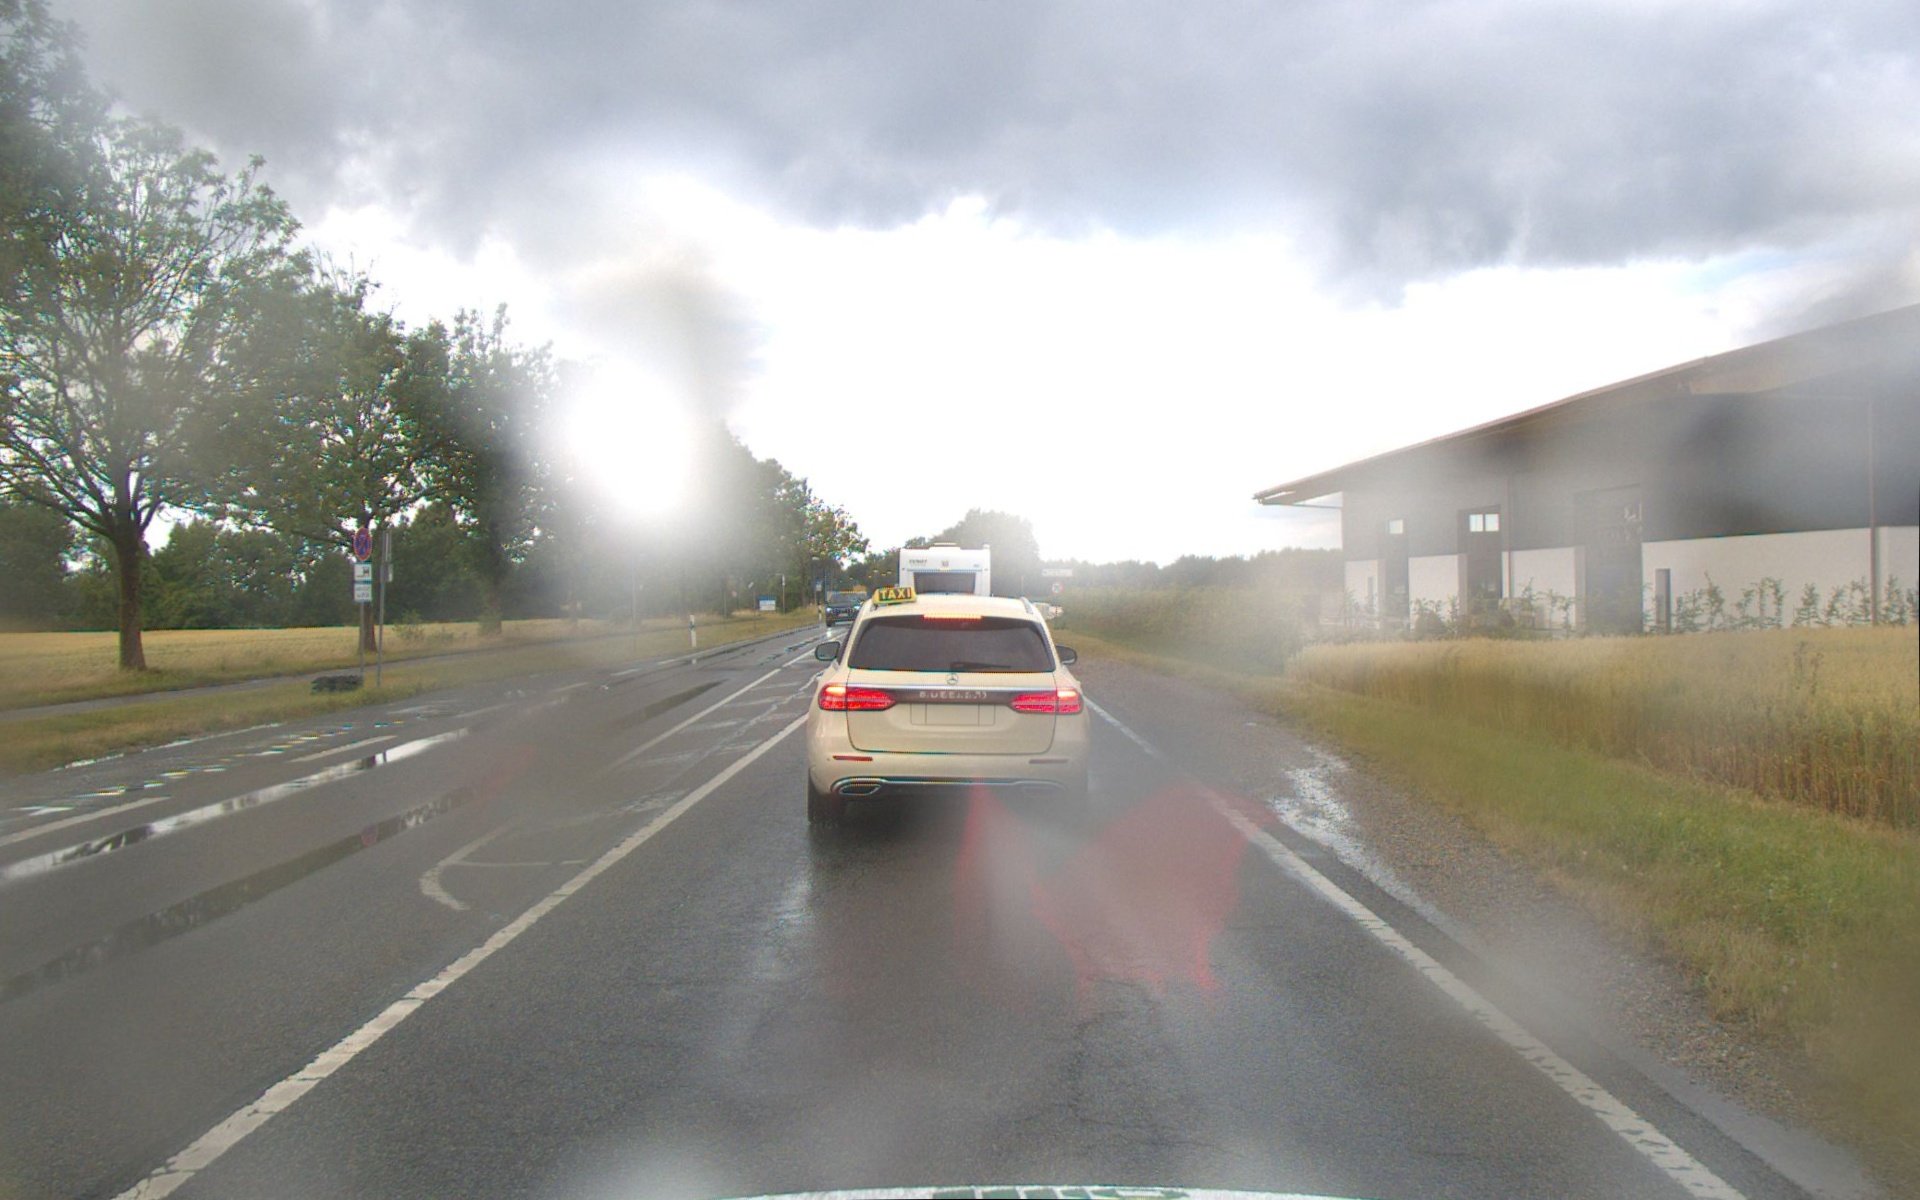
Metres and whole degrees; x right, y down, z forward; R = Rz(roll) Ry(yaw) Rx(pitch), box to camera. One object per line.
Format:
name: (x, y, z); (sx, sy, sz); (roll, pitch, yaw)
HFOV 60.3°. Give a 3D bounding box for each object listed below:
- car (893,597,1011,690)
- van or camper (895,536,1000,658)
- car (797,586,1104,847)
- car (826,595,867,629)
car: (-0.167, 0.680, 28.023); (1.856, 1.454, 3.927); (0, 0, -1)
van or camper: (-0.292, -0.076, 42.862); (2.446, 2.880, 5.933); (-2, 0, 0)
car: (-0.065, 0.665, 11.573); (1.760, 1.490, 4.030); (1, 0, 0)
car: (-5.794, 0.611, 84.857); (1.877, 1.660, 4.356); (-1, 0, -1)
